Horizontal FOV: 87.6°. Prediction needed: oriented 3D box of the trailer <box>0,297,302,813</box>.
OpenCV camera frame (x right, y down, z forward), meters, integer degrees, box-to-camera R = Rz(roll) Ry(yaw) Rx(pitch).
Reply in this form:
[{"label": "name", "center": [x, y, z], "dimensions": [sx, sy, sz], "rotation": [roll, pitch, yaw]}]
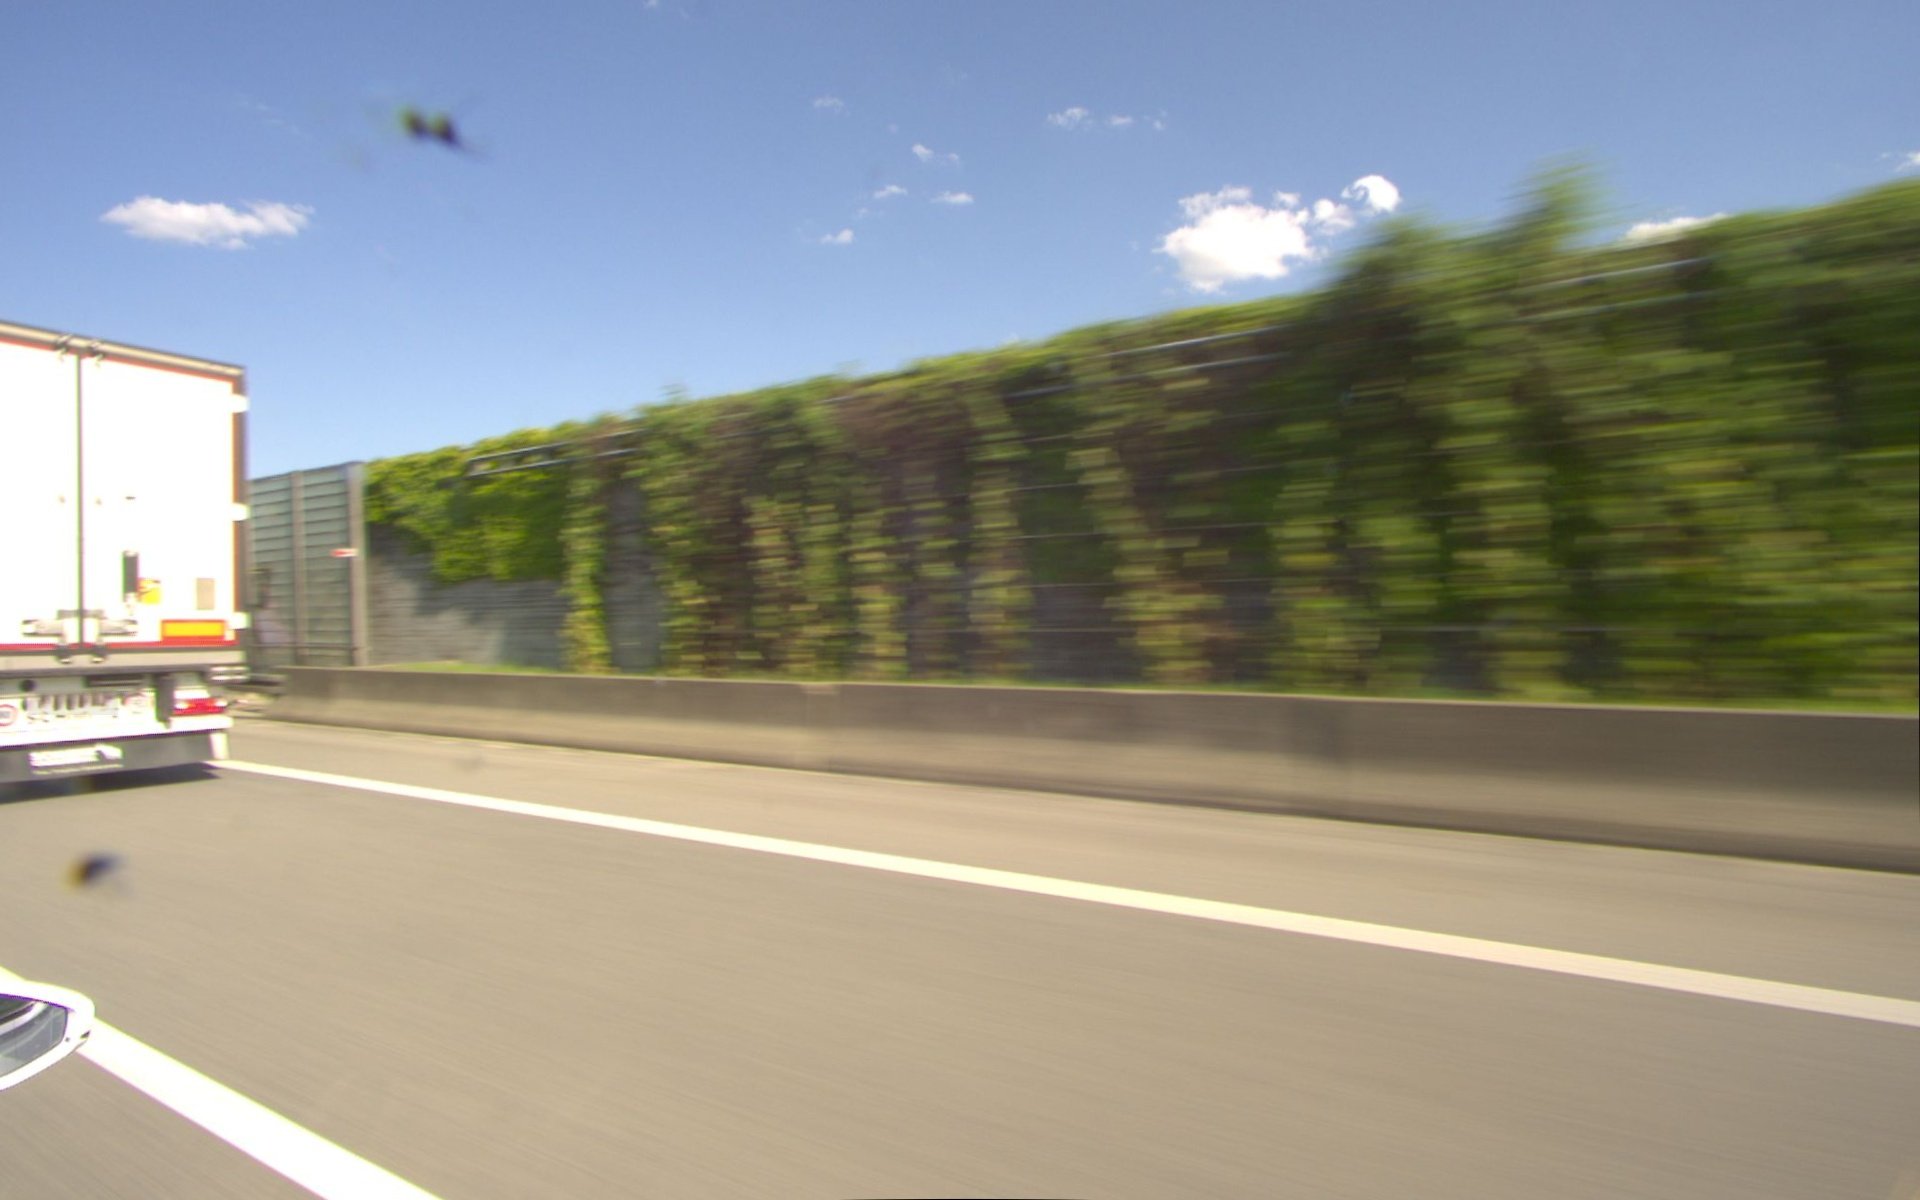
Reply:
[{"label": "trailer", "center": [-13.001, -0.266, 12.144], "dimensions": [13.958, 4.020, 2.812], "rotation": [-1, 1, 32]}]
